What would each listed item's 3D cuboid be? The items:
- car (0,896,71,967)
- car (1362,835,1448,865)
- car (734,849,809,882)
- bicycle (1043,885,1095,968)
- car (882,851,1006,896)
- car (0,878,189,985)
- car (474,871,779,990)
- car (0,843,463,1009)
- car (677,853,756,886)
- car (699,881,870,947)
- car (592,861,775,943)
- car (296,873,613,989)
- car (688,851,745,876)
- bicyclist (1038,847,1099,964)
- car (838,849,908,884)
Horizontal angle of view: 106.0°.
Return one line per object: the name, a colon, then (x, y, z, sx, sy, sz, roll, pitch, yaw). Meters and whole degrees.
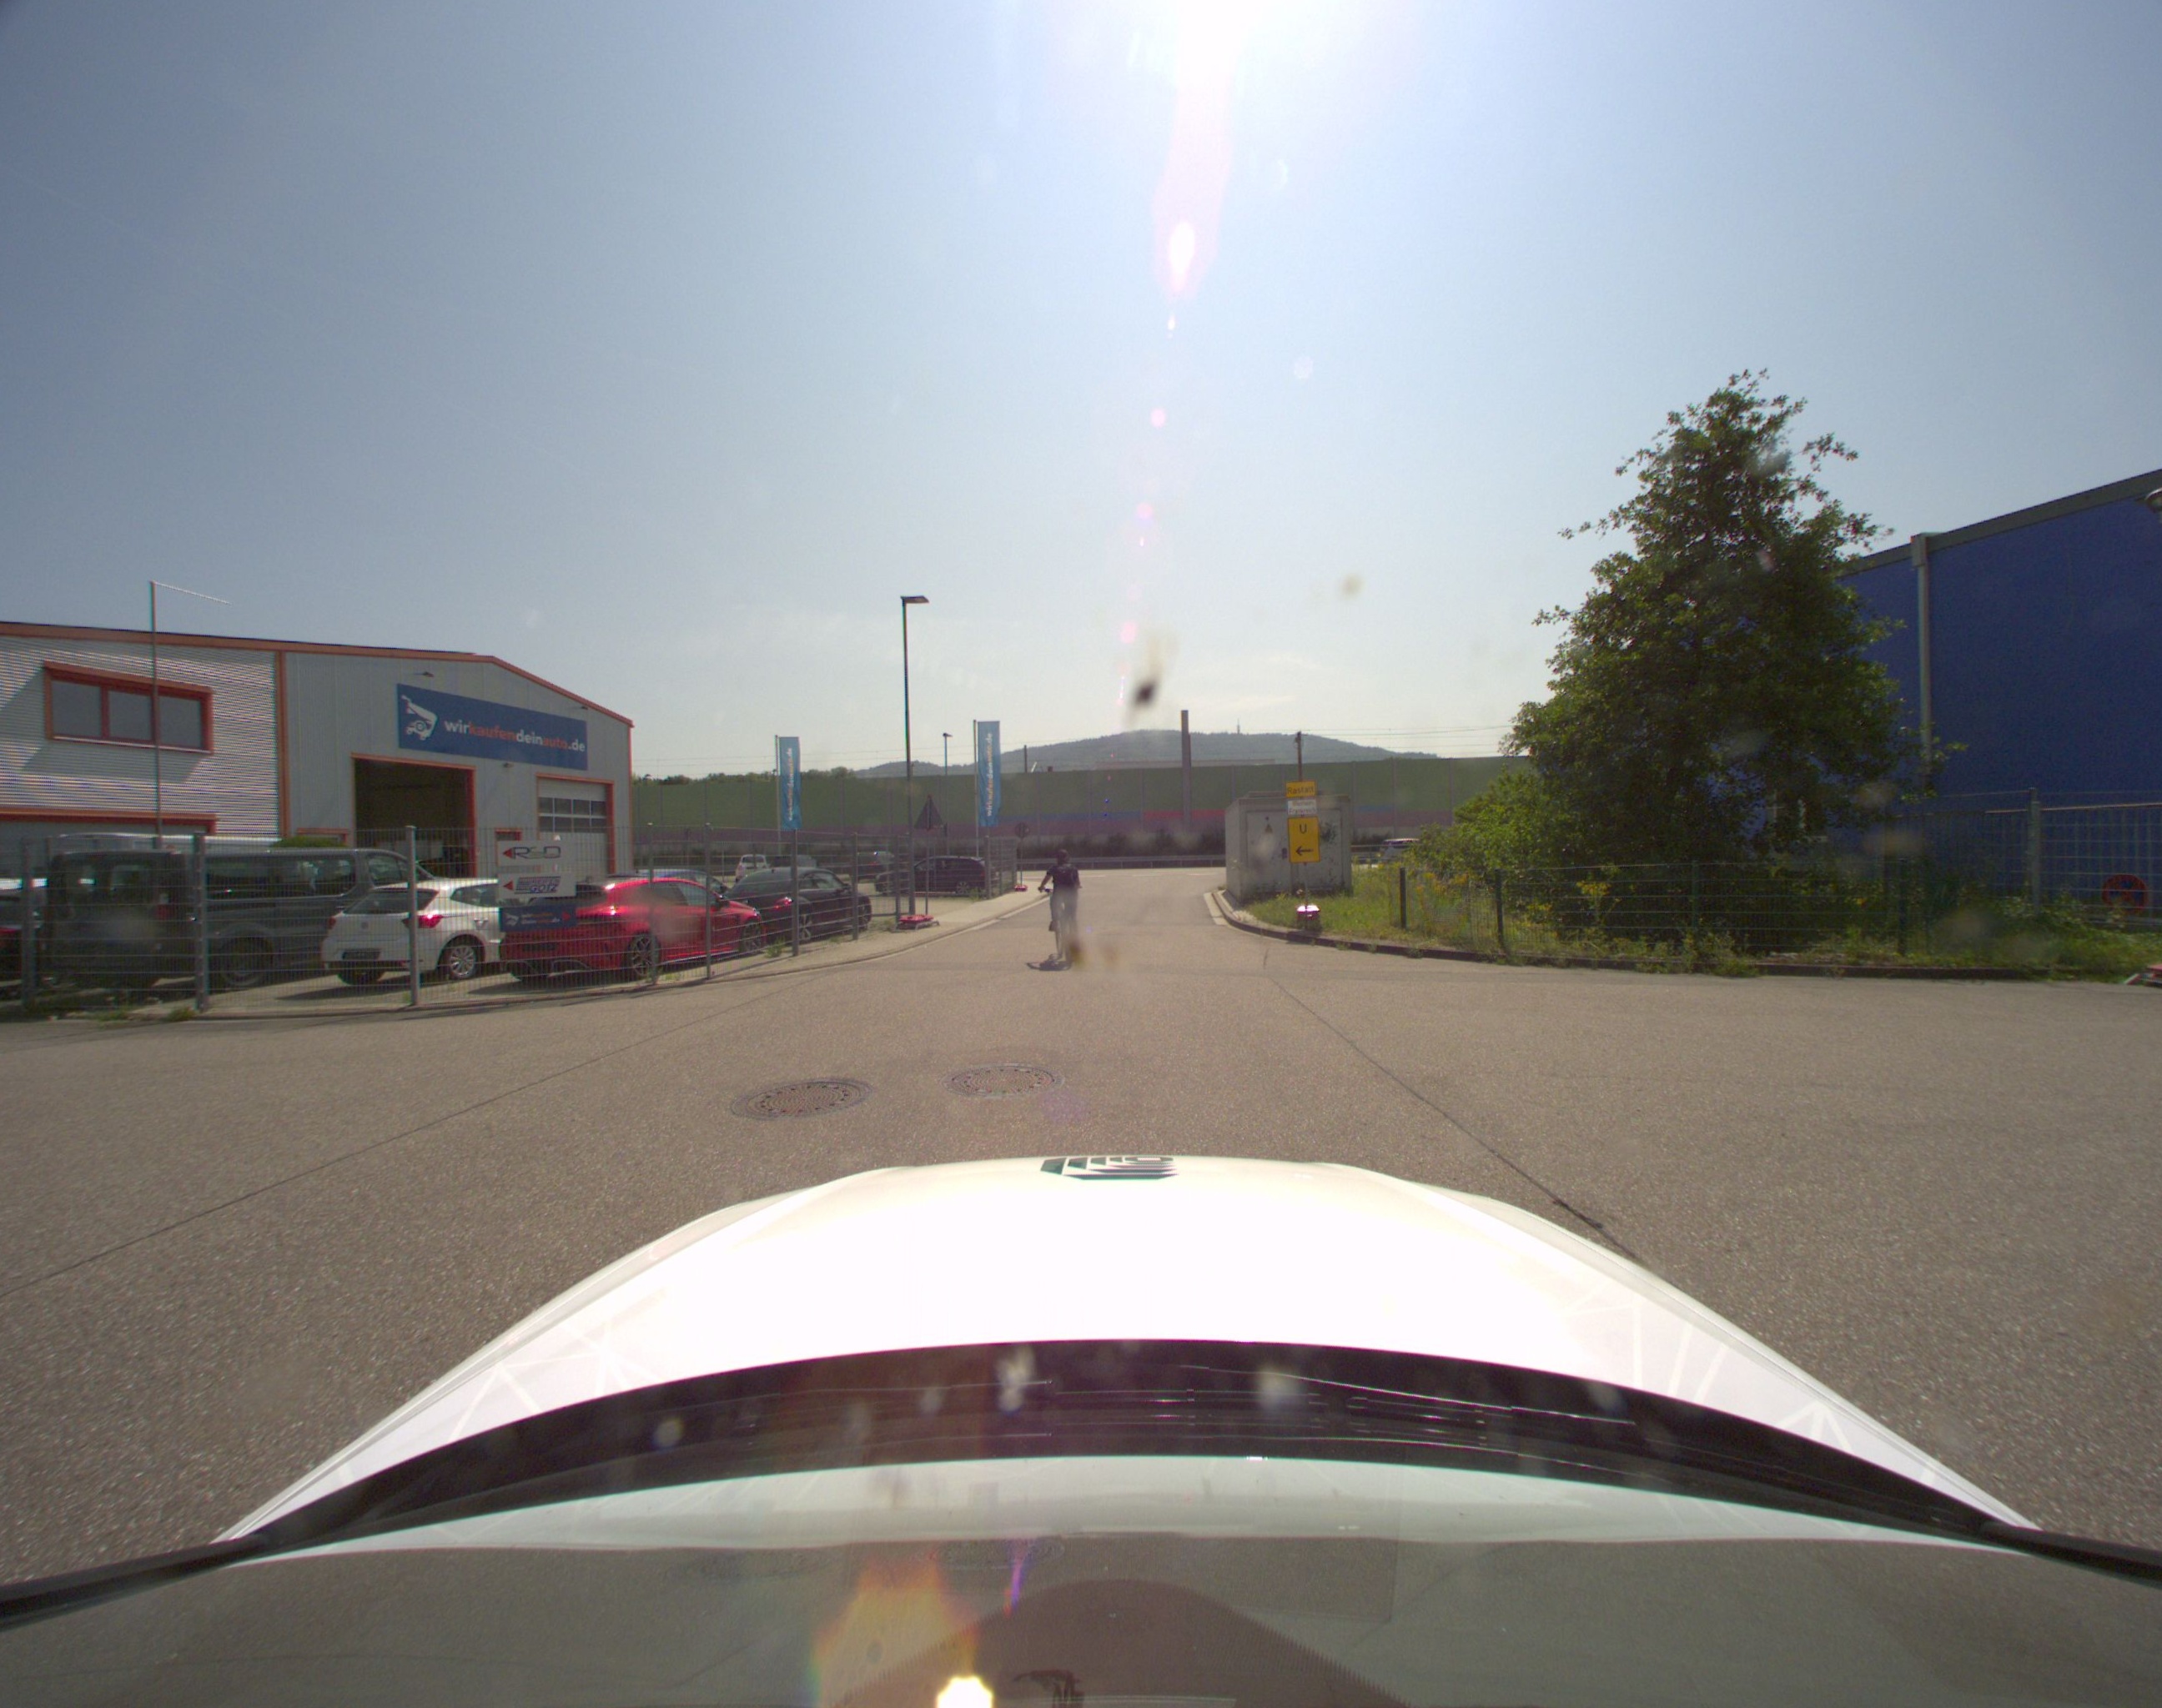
car: (-19.296, 1.375, 13.048, 1.494, 1.151, 3.612, -1, 0, 9)
car: (17.576, -0.200, 44.327, 3.964, 1.492, 2.005, -1, 0, 8)
car: (-16.110, 0.583, 42.579, 1.983, 1.581, 4.008, -1, 0, 7)
bicycle: (-0.193, 1.025, 12.051, 0.683, 1.051, 1.899, -1, 0, -2)
car: (-4.977, 0.705, 29.878, 3.960, 1.492, 2.007, -1, 0, 12)
car: (-16.975, 1.223, 12.874, 1.494, 1.540, 3.612, -1, 0, 9)
car: (-6.563, 1.022, 12.396, 1.859, 1.386, 4.123, -1, 0, 9)
car: (-12.271, 0.890, 12.321, 1.939, 2.030, 4.529, -1, 0, 9)
car: (-19.123, 0.799, 42.917, 1.983, 1.581, 4.008, -1, 0, 7)
car: (-5.888, 1.160, 16.748, 1.475, 1.007, 4.123, -1, 0, 9)
car: (-8.225, 0.935, 17.253, 1.475, 1.454, 3.904, -1, 0, 9)
car: (-9.304, 1.059, 12.506, 1.735, 1.405, 3.612, -1, 0, 9)
car: (-25.694, 0.619, 57.574, 1.688, 1.657, 4.011, -1, 0, 10)
bicyclist: (-0.193, 0.728, 11.957, 0.840, 1.618, 1.038, -1, -1, -2)
car: (-10.247, 0.593, 40.423, 1.983, 1.581, 4.008, -1, 0, 7)
